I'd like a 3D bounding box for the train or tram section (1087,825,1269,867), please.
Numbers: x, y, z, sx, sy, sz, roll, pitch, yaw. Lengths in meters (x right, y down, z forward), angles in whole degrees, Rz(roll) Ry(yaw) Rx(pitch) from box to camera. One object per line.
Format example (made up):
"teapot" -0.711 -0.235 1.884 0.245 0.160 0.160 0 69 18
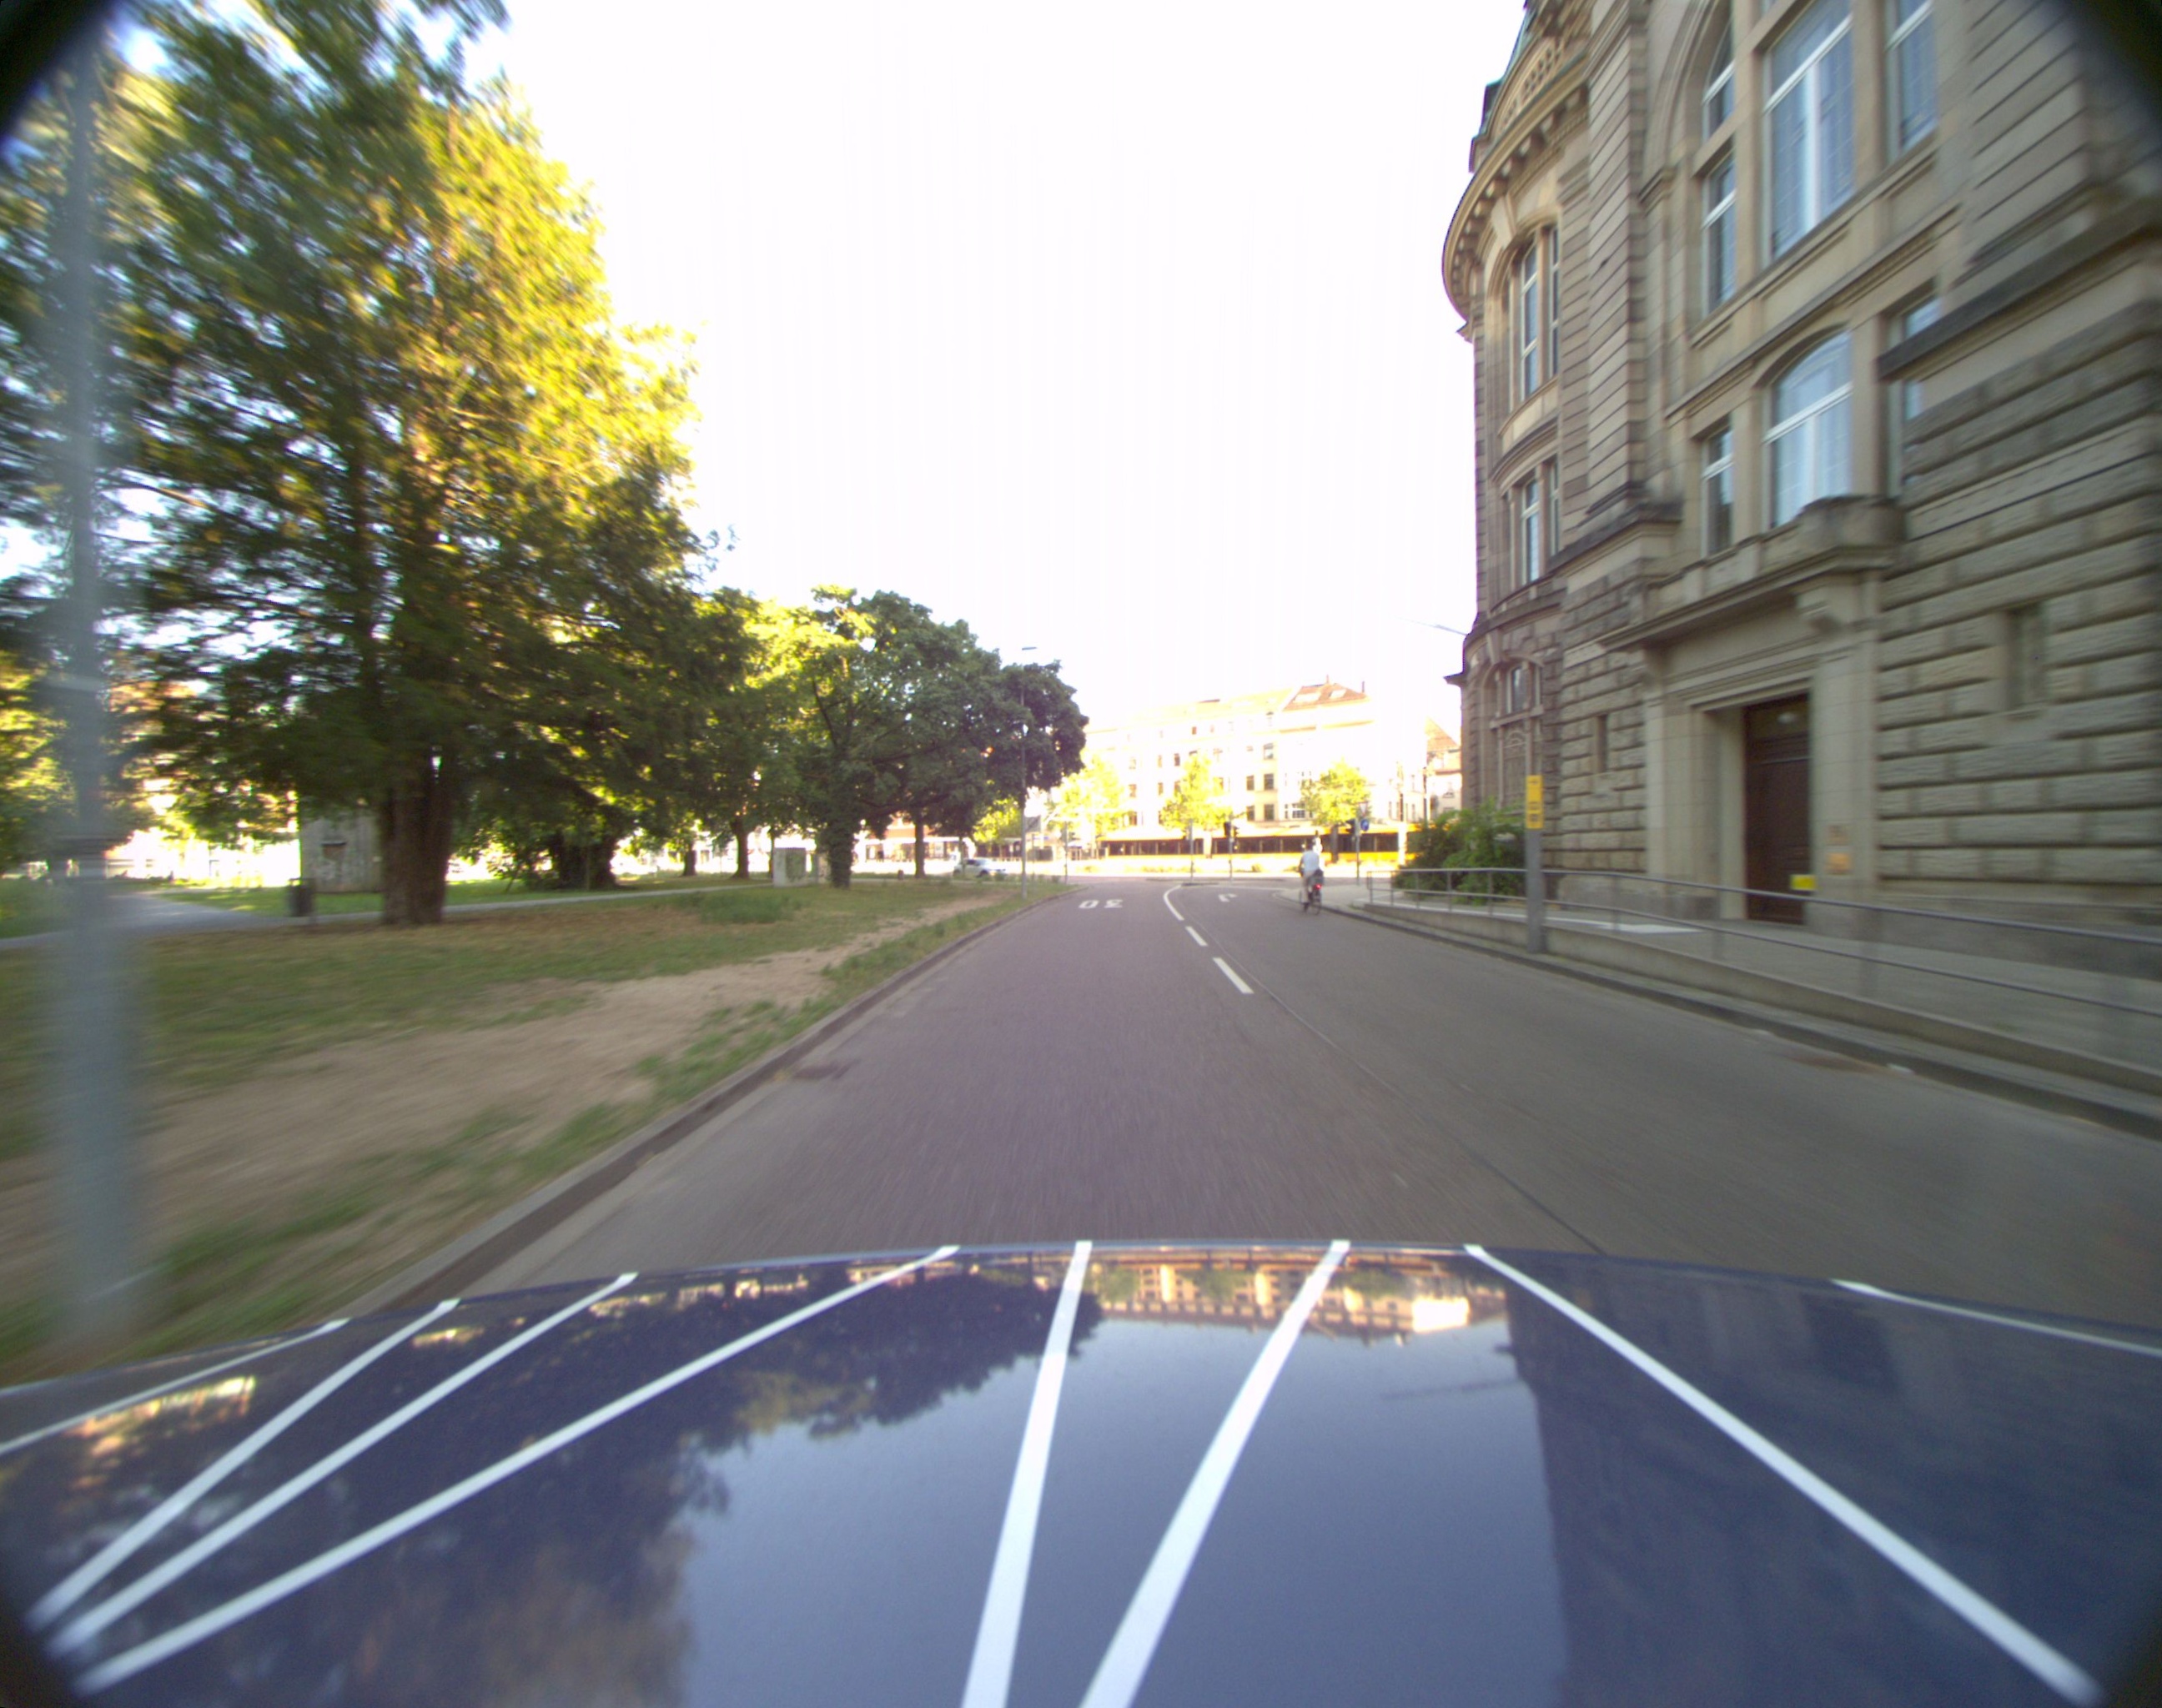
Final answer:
"train or tram section" 8.617 -0.602 71.086 17.428 3.538 3.129 -1 0 35

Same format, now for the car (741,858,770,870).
"car" -50.330 1.540 117.347 4.881 1.787 2.004 -1 0 38

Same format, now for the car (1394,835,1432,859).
"car" 32.827 -0.709 75.021 2.463 2.253 7.305 0 0 31

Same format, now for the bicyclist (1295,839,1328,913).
"bicyclist" 5.756 0.540 19.014 0.646 1.796 0.781 0 1 6

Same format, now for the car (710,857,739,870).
"car" -57.608 1.500 122.725 4.761 2.002 2.004 0 1 35

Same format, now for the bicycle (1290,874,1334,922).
"bicycle" 5.772 1.082 19.114 0.664 1.064 2.154 0 0 6

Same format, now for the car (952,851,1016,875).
"car" -6.637 0.577 51.732 4.266 1.529 1.838 0 2 37

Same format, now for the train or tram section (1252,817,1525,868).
"train or tram section" 23.477 -0.748 60.133 19.875 3.538 3.129 -1 0 38
